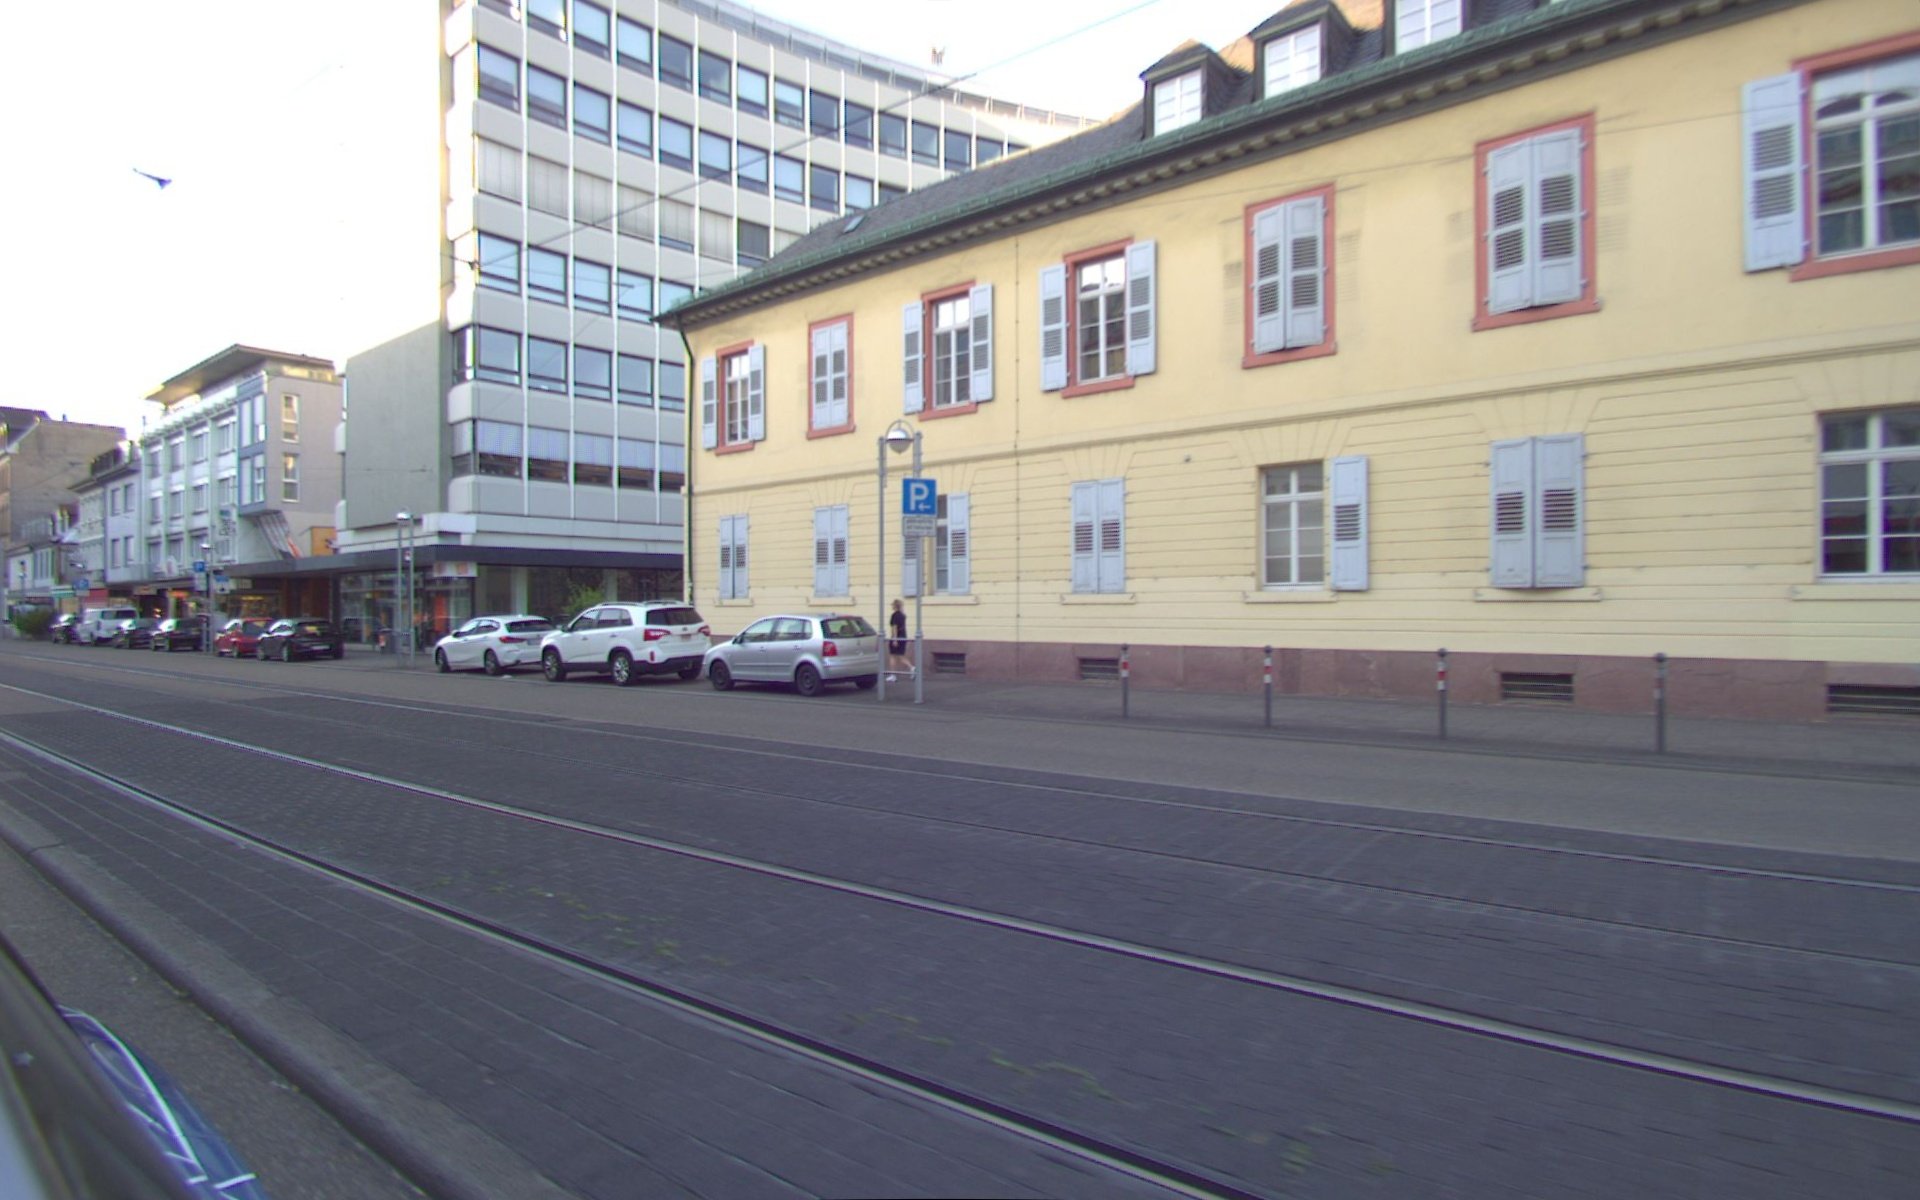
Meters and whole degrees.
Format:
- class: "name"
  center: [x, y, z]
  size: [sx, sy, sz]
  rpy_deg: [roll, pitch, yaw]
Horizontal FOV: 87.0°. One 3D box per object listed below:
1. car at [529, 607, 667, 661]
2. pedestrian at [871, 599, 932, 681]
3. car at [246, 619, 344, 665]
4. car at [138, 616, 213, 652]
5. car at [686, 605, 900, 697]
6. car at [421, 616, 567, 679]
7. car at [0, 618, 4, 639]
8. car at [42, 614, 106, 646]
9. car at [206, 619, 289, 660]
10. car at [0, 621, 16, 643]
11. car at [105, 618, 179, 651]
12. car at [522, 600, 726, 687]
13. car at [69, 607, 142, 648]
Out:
- class: "car"
  center: [-12.061, 1.094, 33.945]
  size: [1.911, 1.564, 3.951]
  rpy_deg: [-1, 1, 37]
- class: "pedestrian"
  center: [-1.155, 0.779, 20.061]
  size: [0.877, 1.553, 0.791]
  rpy_deg: [-1, 1, 41]
- class: "car"
  center: [-22.990, 1.411, 34.944]
  size: [3.961, 1.436, 1.675]
  rpy_deg: [-1, 1, 39]
- class: "car"
  center: [-34.192, 1.461, 44.093]
  size: [4.088, 1.472, 1.772]
  rpy_deg: [-1, -1, 40]
- class: "car"
  center: [-3.191, 0.903, 18.958]
  size: [3.996, 1.485, 1.731]
  rpy_deg: [-2, 0, 39]
- class: "car"
  center: [-12.131, 1.184, 26.245]
  size: [4.278, 1.464, 1.704]
  rpy_deg: [-1, 1, 39]
- class: "car"
  center: [-75.689, 2.248, 78.629]
  size: [3.468, 1.582, 1.639]
  rpy_deg: [0, 1, 40]
- class: "car"
  center: [-50.837, 1.693, 58.045]
  size: [4.584, 1.710, 1.974]
  rpy_deg: [-1, 1, 39]
- class: "car"
  center: [-26.862, 1.441, 38.129]
  size: [3.588, 1.445, 1.675]
  rpy_deg: [-1, -1, 39]
- class: "car"
  center: [-71.767, 2.371, 75.105]
  size: [4.618, 1.568, 1.873]
  rpy_deg: [-1, 1, 40]
- class: "car"
  center: [-39.352, 1.624, 48.633]
  size: [4.566, 1.437, 1.854]
  rpy_deg: [-1, 1, 39]
- class: "car"
  center: [-7.417, 0.897, 22.155]
  size: [4.753, 1.673, 1.869]
  rpy_deg: [-1, 1, 37]
- class: "car"
  center: [-45.095, 1.398, 53.355]
  size: [5.093, 2.029, 1.945]
  rpy_deg: [-1, 1, 38]
